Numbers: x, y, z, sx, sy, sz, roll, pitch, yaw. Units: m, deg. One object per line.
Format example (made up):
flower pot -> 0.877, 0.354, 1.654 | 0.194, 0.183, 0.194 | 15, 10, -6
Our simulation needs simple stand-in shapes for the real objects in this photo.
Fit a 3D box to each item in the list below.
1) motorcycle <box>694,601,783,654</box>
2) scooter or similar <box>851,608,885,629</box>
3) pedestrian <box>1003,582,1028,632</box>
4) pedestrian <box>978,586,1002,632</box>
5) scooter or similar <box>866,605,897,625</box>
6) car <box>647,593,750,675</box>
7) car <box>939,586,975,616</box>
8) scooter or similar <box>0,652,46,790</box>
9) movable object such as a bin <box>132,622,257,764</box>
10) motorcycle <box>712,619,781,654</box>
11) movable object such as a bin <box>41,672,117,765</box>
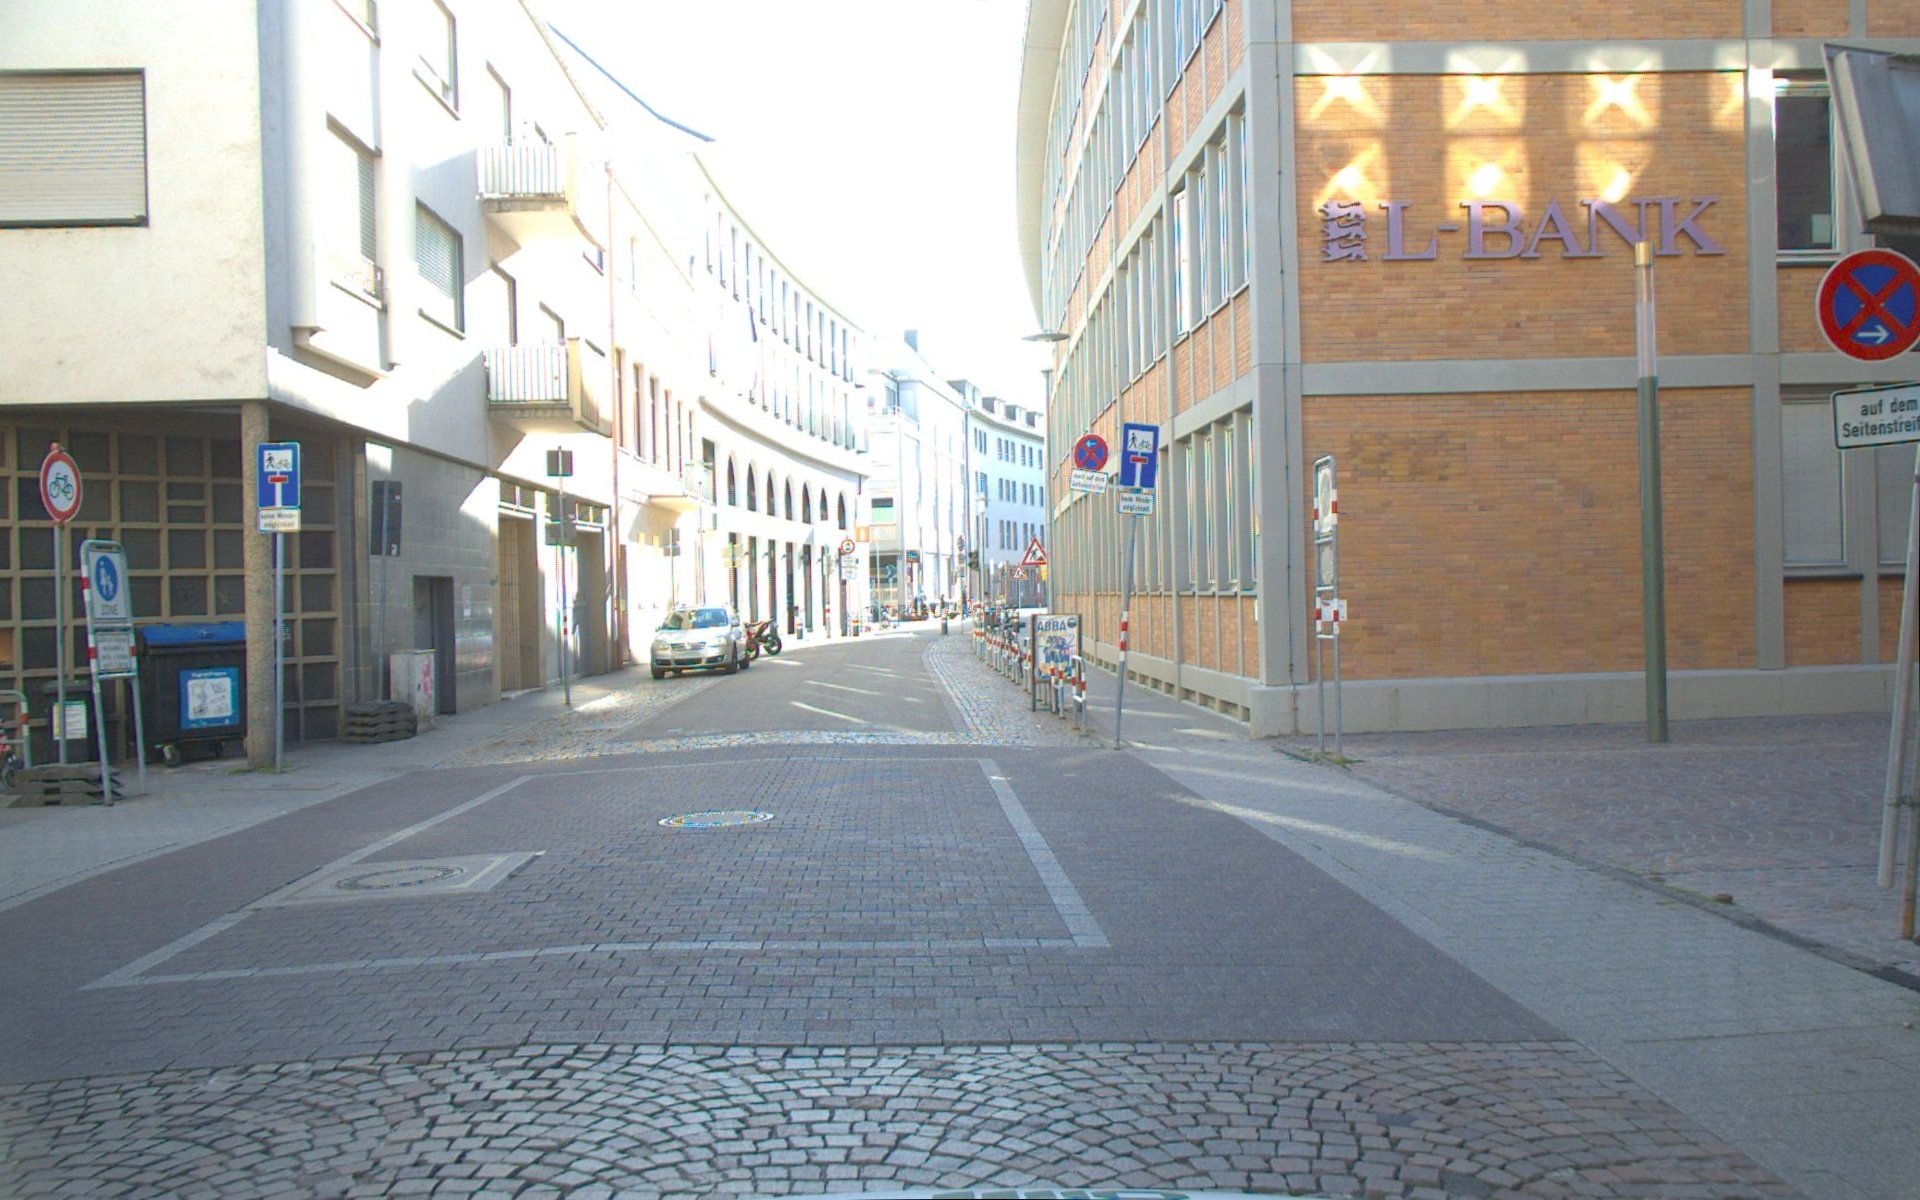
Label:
motorcycle -> -6.157, 0.757, 46.151 | 2.343, 1.340, 0.861 | -3, 0, -3
scooter or similar -> -4.293, 0.869, 77.473 | 0.515, 0.944, 2.225 | 0, 0, 27
pedestrian -> 2.144, 0.265, 63.457 | 0.653, 1.901, 0.752 | 1, -1, -33
pedestrian -> 1.237, 0.382, 68.660 | 0.653, 1.901, 0.777 | 1, -1, -33
scooter or similar -> -3.851, 0.724, 81.238 | 0.515, 0.944, 2.225 | 0, 0, 27
car -> -5.476, 0.675, 35.001 | 1.701, 1.634, 3.531 | 0, 0, -2
car -> -0.149, 0.040, 97.707 | 1.700, 1.634, 3.535 | -3, 0, 5
scooter or similar -> -9.118, 1.126, 15.184 | 1.134, 1.228, 0.479 | -3, 0, -3
movable object such as a bin -> -8.122, 0.955, 17.553 | 0.868, 1.444, 0.929 | 0, -1, 40
motorcycle -> -5.470, 0.940, 42.387 | 1.656, 0.874, 0.595 | 0, -1, 2
movable object such as a bin -> -9.054, 1.208, 17.002 | 0.516, 0.917, 0.534 | 0, -1, 40
